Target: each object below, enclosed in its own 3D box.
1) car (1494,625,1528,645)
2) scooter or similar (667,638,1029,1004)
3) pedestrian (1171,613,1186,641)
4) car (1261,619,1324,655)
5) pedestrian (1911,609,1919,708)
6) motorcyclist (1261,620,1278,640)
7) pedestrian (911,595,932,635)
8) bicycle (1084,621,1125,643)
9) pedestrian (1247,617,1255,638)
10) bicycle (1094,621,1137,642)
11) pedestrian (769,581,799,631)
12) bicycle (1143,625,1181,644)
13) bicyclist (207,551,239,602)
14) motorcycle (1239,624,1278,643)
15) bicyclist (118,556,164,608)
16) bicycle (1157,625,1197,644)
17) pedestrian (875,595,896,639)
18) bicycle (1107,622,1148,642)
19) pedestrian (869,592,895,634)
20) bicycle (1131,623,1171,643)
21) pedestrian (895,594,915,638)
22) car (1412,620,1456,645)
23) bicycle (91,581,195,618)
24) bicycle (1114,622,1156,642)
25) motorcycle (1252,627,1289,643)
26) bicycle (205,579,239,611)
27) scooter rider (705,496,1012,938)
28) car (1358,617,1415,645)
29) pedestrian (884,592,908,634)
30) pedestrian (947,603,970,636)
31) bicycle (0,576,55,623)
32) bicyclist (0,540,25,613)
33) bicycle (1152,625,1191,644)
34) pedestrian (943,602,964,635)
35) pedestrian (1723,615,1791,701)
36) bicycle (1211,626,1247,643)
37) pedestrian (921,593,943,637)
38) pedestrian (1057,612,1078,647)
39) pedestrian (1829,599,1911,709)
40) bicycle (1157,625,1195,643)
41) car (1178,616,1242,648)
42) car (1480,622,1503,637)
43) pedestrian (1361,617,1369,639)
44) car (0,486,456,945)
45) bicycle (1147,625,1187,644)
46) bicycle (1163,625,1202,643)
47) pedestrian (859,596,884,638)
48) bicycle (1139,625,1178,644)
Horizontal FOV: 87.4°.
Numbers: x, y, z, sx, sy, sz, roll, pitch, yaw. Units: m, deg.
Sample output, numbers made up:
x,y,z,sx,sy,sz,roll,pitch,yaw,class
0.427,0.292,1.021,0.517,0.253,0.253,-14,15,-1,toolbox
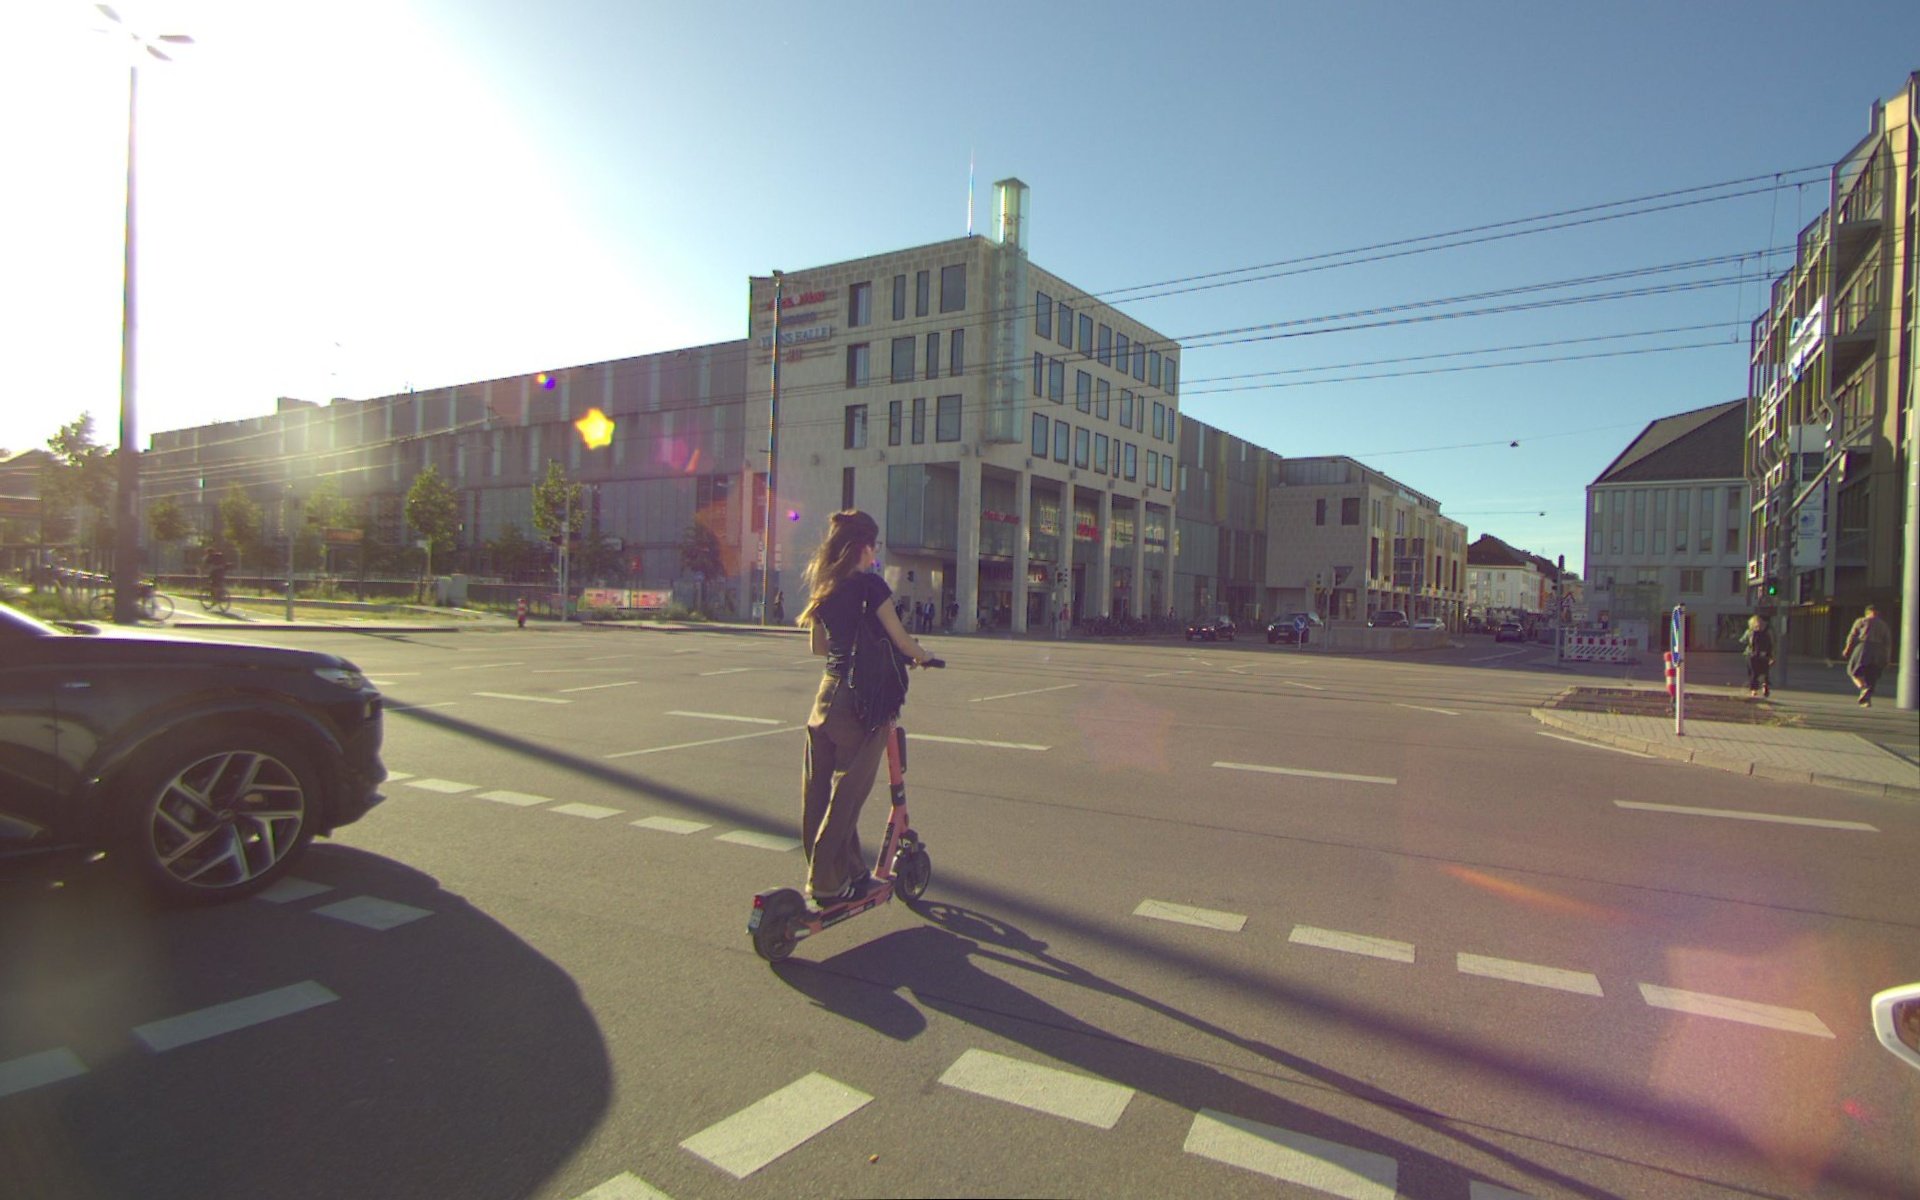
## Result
x,y,z,sx,sy,sz,roll,pitch,yaw,class
43.960,2.838,80.155,1.910,1.469,4.249,2,-1,35,car
-0.394,0.779,4.188,0.633,1.191,1.479,3,1,35,scooter or similar
16.135,2.002,74.148,0.929,2.008,1.008,2,0,15,pedestrian
16.893,1.864,50.894,1.911,1.699,4.282,2,0,34,car
19.494,1.175,19.620,1.038,1.936,1.007,2,0,-28,pedestrian
24.134,2.324,78.306,1.021,1.490,0.914,4,1,32,motorcyclist
-2.027,0.795,53.296,0.898,2.040,1.024,2,0,6,pedestrian
8.343,1.852,58.081,2.373,1.127,0.655,2,0,39,bicycle
28.666,2.679,99.041,0.606,2.040,0.478,4,1,24,pedestrian
9.148,1.870,59.154,2.438,1.125,0.681,2,0,40,bicycle
-7.799,0.281,44.553,0.880,2.152,0.947,2,0,16,pedestrian
12.859,2.178,63.963,2.438,1.125,0.535,2,0,40,bicycle
-22.967,-0.727,31.319,0.748,1.525,0.611,2,0,-35,bicyclist
22.711,2.545,76.447,2.630,1.233,0.914,4,1,32,motorcycle
-21.906,-0.479,26.856,0.794,1.375,0.837,3,1,42,bicyclist
14.243,2.239,65.887,2.438,1.125,0.831,2,0,40,bicycle
-3.808,0.868,51.238,0.880,2.152,0.947,2,0,4,pedestrian
10.015,1.914,60.200,2.439,1.125,0.680,2,0,42,bicycle
-4.065,0.678,52.576,0.883,2.152,0.944,2,0,34,pedestrian
11.792,2.012,62.087,2.438,1.125,0.681,2,0,40,bicycle
-2.779,0.810,50.676,0.881,2.152,0.947,2,0,-2,pedestrian
36.136,2.499,76.485,2.145,1.714,5.598,2,-1,35,car
-21.872,-0.018,26.911,0.794,0.939,2.066,2,1,42,bicycle
10.582,1.933,60.776,2.438,1.125,0.681,2,0,40,bicycle
24.187,2.732,78.278,2.630,1.009,0.914,4,1,32,motorcycle
-22.935,-0.175,31.244,0.748,0.953,2.371,2,0,-34,bicycle
-0.383,0.414,4.184,0.633,1.564,1.113,3,1,35,scooter rider
28.629,2.081,67.296,2.147,1.714,5.465,2,-1,38,car
-3.409,0.699,53.794,0.881,2.152,0.946,2,0,24,pedestrian
-0.078,0.952,50.127,0.929,1.592,0.839,2,0,-13,pedestrian
-20.949,-0.010,21.726,0.639,1.010,1.970,2,0,38,bicycle
-20.937,-0.524,21.730,0.639,1.565,0.938,2,1,38,bicyclist
13.686,2.212,65.116,2.438,1.125,0.681,2,0,40,bicycle
-0.353,0.970,52.537,0.988,1.673,0.948,2,0,-3,pedestrian
15.384,1.093,19.415,0.883,1.570,0.921,2,2,32,pedestrian
19.761,2.514,73.859,2.438,1.125,0.657,2,0,40,bicycle
-1.435,0.767,51.841,1.042,2.157,1.098,2,0,0,pedestrian
5.551,1.536,51.886,0.741,1.763,0.754,2,0,36,pedestrian
15.248,0.874,16.857,0.843,1.767,0.738,2,1,31,pedestrian
14.361,2.245,66.853,2.438,1.125,0.681,2,0,40,bicycle
13.825,1.750,55.456,1.912,1.602,4.279,2,0,36,car
73.035,4.123,137.885,2.145,1.897,5.599,2,-1,34,car
38.414,2.622,95.262,0.606,2.040,0.478,4,1,24,pedestrian
-4.798,0.379,3.715,2.165,1.684,4.777,2,0,35,car
13.260,2.199,64.466,2.438,1.125,0.681,2,0,40,bicycle
15.054,2.278,67.896,2.438,1.125,0.831,2,0,40,bicycle
-4.736,0.911,53.810,0.882,2.152,0.945,2,0,29,pedestrian
12.518,2.161,63.497,2.438,1.125,0.591,2,0,40,bicycle
